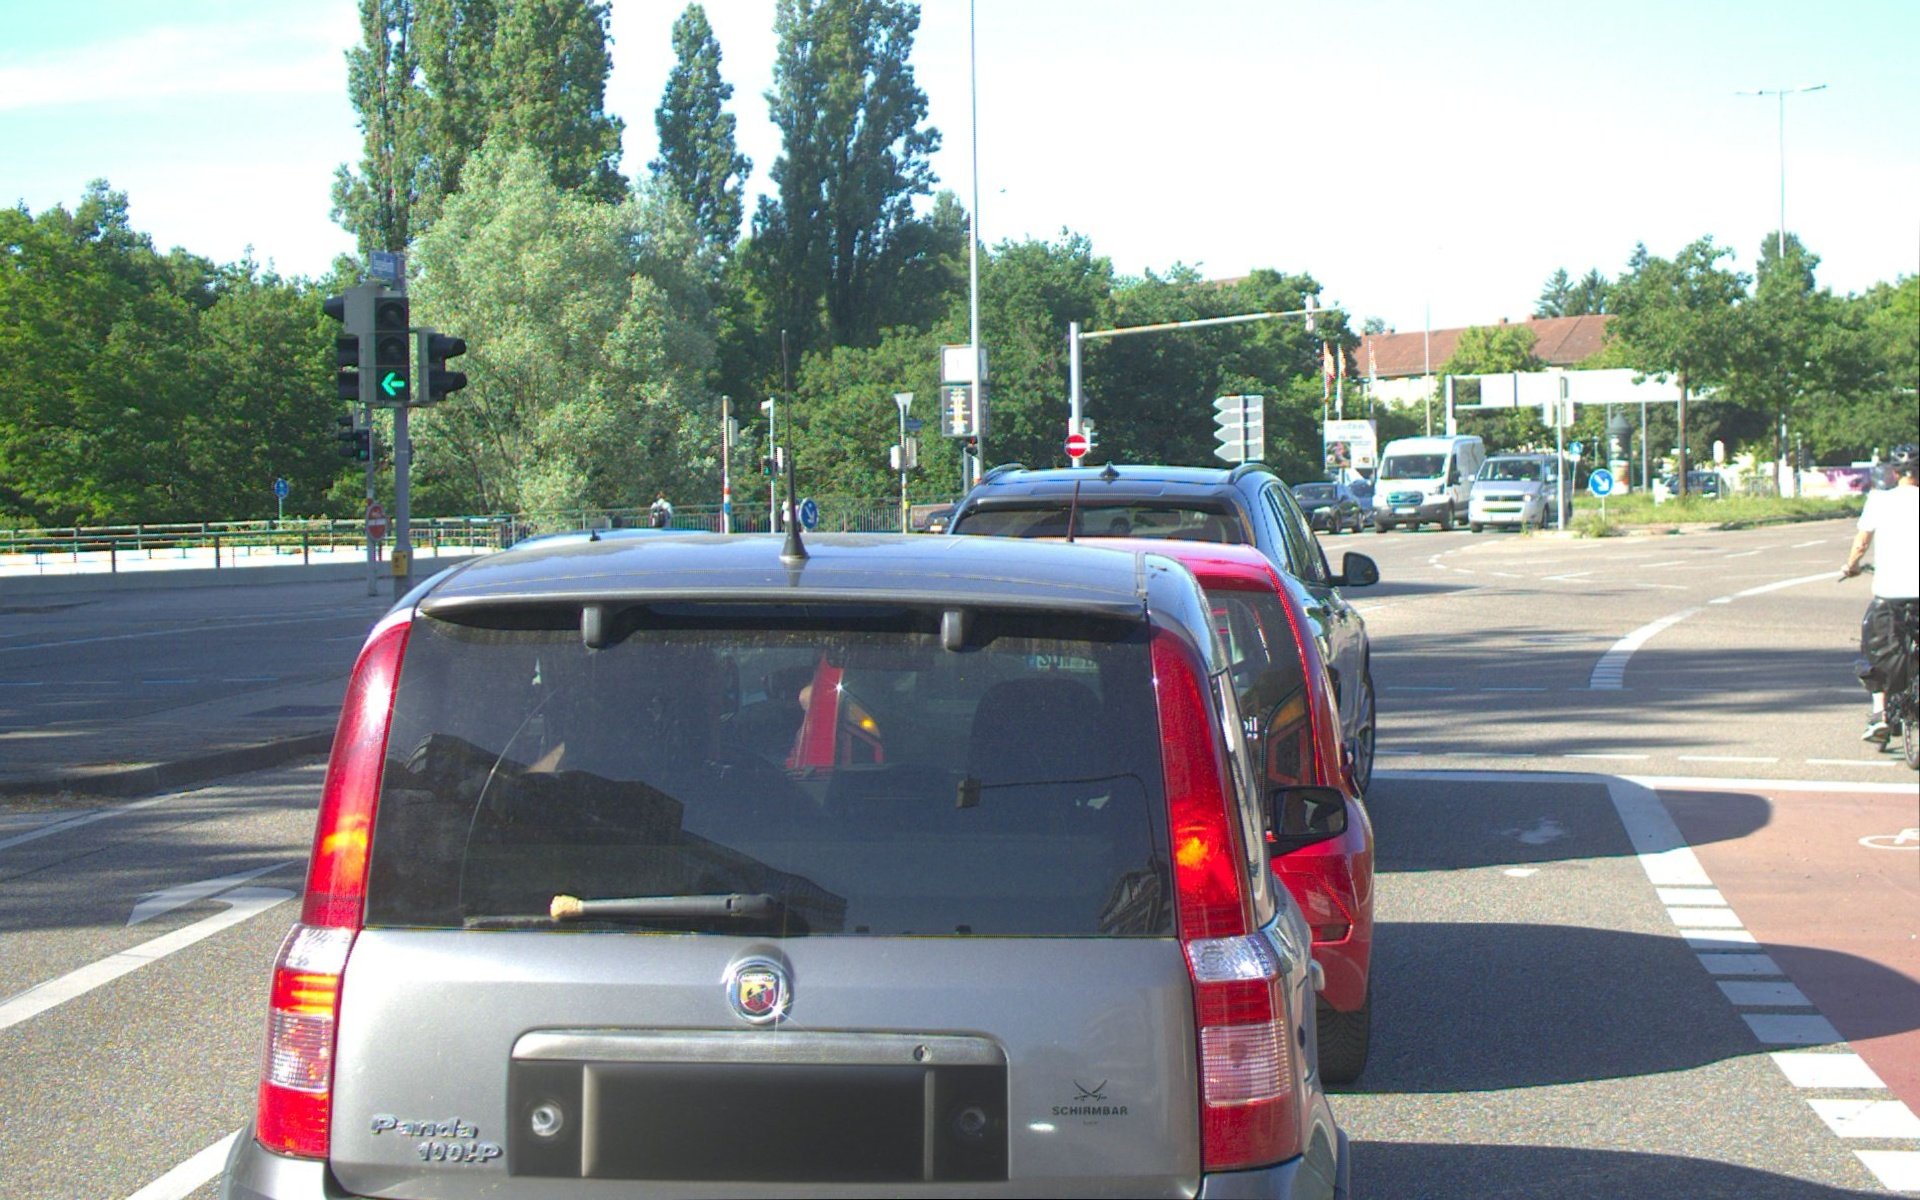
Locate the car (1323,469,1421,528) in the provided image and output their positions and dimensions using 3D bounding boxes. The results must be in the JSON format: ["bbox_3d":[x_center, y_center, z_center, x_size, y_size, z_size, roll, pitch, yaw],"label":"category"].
[{"bbox_3d":[11.809,-2.911,98.314,1.812,1.536,4.613,-2,2,19],"label":"car"}]

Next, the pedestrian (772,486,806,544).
[{"bbox_3d":[-4.705,-2.340,94.615,0.709,1.542,0.729,-2,0,-16],"label":"pedestrian"}]

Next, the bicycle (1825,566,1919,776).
[{"bbox_3d":[5.392,0.381,19.731,0.691,1.098,1.825,0,2,10],"label":"bicycle"}]

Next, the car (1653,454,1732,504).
[{"bbox_3d":[24.360,-4.030,114.198,1.938,1.616,4.502,0,2,20],"label":"car"}]

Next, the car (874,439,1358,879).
[{"bbox_3d":[0.886,0.182,16.490,1.946,1.833,4.152,-1,2,8],"label":"car"}]

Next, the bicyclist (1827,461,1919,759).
[{"bbox_3d":[5.381,0.033,19.667,0.724,1.654,1.112,0,2,10],"label":"bicyclist"}]

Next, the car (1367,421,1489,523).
[{"bbox_3d":[12.392,-3.384,90.716,1.938,2.567,6.083,0,2,20],"label":"car"}]

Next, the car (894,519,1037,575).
[{"bbox_3d":[0.180,-1.586,103.957,3.988,1.619,1.900,0,1,-38],"label":"car"}]

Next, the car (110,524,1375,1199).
[{"bbox_3d":[-0.124,0.655,6.306,1.618,1.510,3.819,-1,2,5],"label":"car"}]

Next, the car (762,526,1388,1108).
[{"bbox_3d":[0.453,0.534,10.855,1.618,1.458,3.750,-1,2,5],"label":"car"}]

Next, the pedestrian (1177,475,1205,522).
[{"bbox_3d":[8.300,-3.636,123.536,0.791,1.658,0.628,1,0,40],"label":"pedestrian"}]

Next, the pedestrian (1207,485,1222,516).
[{"bbox_3d":[9.461,-3.711,127.791,0.424,1.132,0.397,1,0,25],"label":"pedestrian"}]

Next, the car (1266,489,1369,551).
[{"bbox_3d":[9.574,-2.157,91.724,1.938,1.502,3.997,-2,2,17],"label":"car"}]

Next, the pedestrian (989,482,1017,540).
[{"bbox_3d":[1.167,-2.428,93.608,0.556,1.542,0.576,-2,1,-16],"label":"pedestrian"}]

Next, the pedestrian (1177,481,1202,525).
[{"bbox_3d":[8.537,-3.599,127.933,0.721,1.635,0.671,1,0,25],"label":"pedestrian"}]

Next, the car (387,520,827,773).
[{"bbox_3d":[-2.142,0.219,22.144,1.781,1.410,4.318,0,2,9],"label":"car"}]

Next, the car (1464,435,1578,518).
[{"bbox_3d":[14.190,-3.120,86.731,1.938,2.001,4.927,0,2,20],"label":"car"}]

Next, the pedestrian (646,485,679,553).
[{"bbox_3d":[-6.470,-1.772,74.819,0.679,1.458,0.703,-1,2,-6],"label":"pedestrian"}]

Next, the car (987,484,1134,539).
[{"bbox_3d":[2.996,-2.638,101.962,4.317,1.530,1.784,-3,4,-41],"label":"car"}]
